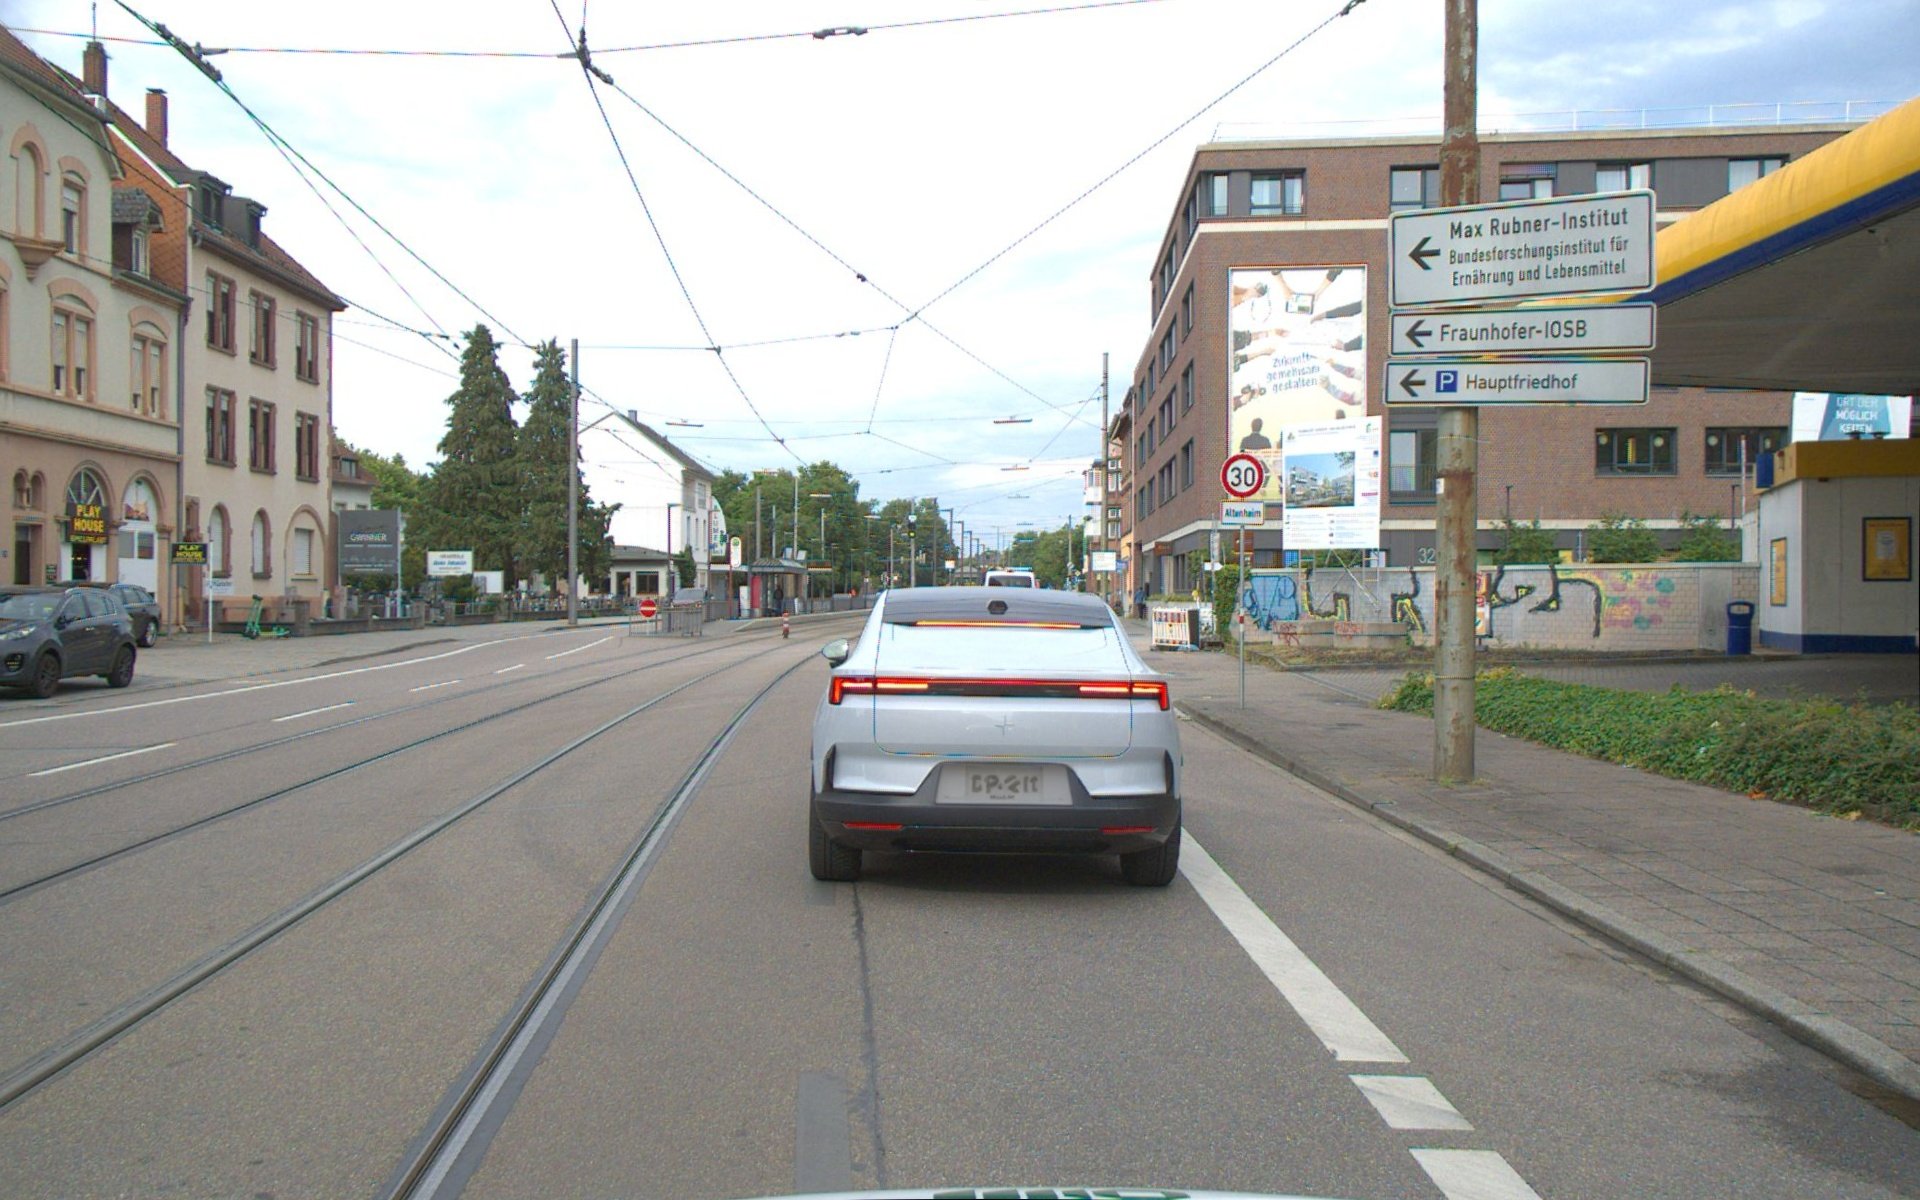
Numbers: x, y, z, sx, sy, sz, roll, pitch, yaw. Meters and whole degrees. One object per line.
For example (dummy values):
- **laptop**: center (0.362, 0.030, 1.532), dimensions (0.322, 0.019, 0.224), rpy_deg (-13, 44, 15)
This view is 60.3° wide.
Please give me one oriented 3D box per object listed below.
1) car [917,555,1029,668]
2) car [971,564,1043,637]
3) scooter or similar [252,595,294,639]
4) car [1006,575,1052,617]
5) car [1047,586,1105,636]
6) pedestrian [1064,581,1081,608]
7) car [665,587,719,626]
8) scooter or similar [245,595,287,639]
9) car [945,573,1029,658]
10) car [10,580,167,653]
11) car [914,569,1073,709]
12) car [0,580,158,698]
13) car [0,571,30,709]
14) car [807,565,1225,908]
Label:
- **car**: center (0.190, 0.224, 32.759), dimensions (1.954, 2.049, 3.998), rpy_deg (1, -1, -3)
- **car**: center (1.624, 0.031, 59.002), dimensions (2.172, 2.466, 4.948), rpy_deg (1, -1, -3)
- **scooter or similar**: center (-19.345, 0.491, 46.572), dimensions (1.041, 1.209, 0.314), rpy_deg (2, -1, -37)
- **car**: center (3.735, -0.210, 90.447), dimensions (2.096, 2.183, 4.741), rpy_deg (1, -1, -2)
- **car**: center (4.538, 0.442, 65.178), dimensions (1.837, 1.855, 4.094), rpy_deg (1, -1, -2)
- **pedestrian**: center (8.673, -0.406, 127.801), dimensions (1.194, 2.049, 0.933), rpy_deg (-1, 0, -1)
- **car**: center (-12.807, 0.322, 79.241), dimensions (1.707, 1.771, 4.001), rpy_deg (1, -1, 3)
- **scooter or similar**: center (-19.703, 0.488, 46.950), dimensions (1.041, 1.209, 0.314), rpy_deg (2, -1, -37)
- **car**: center (0.653, 0.391, 42.595), dimensions (1.953, 2.049, 3.999), rpy_deg (1, -1, -2)
- **car**: center (-19.763, 0.371, 37.673), dimensions (1.718, 1.527, 3.744), rpy_deg (1, -1, -3)
- **car**: center (0.389, 0.523, 23.532), dimensions (1.930, 1.787, 3.835), rpy_deg (1, -1, -4)
- **car**: center (-14.762, 0.575, 26.619), dimensions (1.808, 1.748, 4.190), rpy_deg (1, -1, -3)
- **car**: center (-14.300, 0.522, 21.265), dimensions (1.952, 1.920, 4.996), rpy_deg (1, 0, -2)
- **car**: center (0.104, 0.642, 9.848), dimensions (1.943, 1.577, 4.179), rpy_deg (1, 0, -5)
